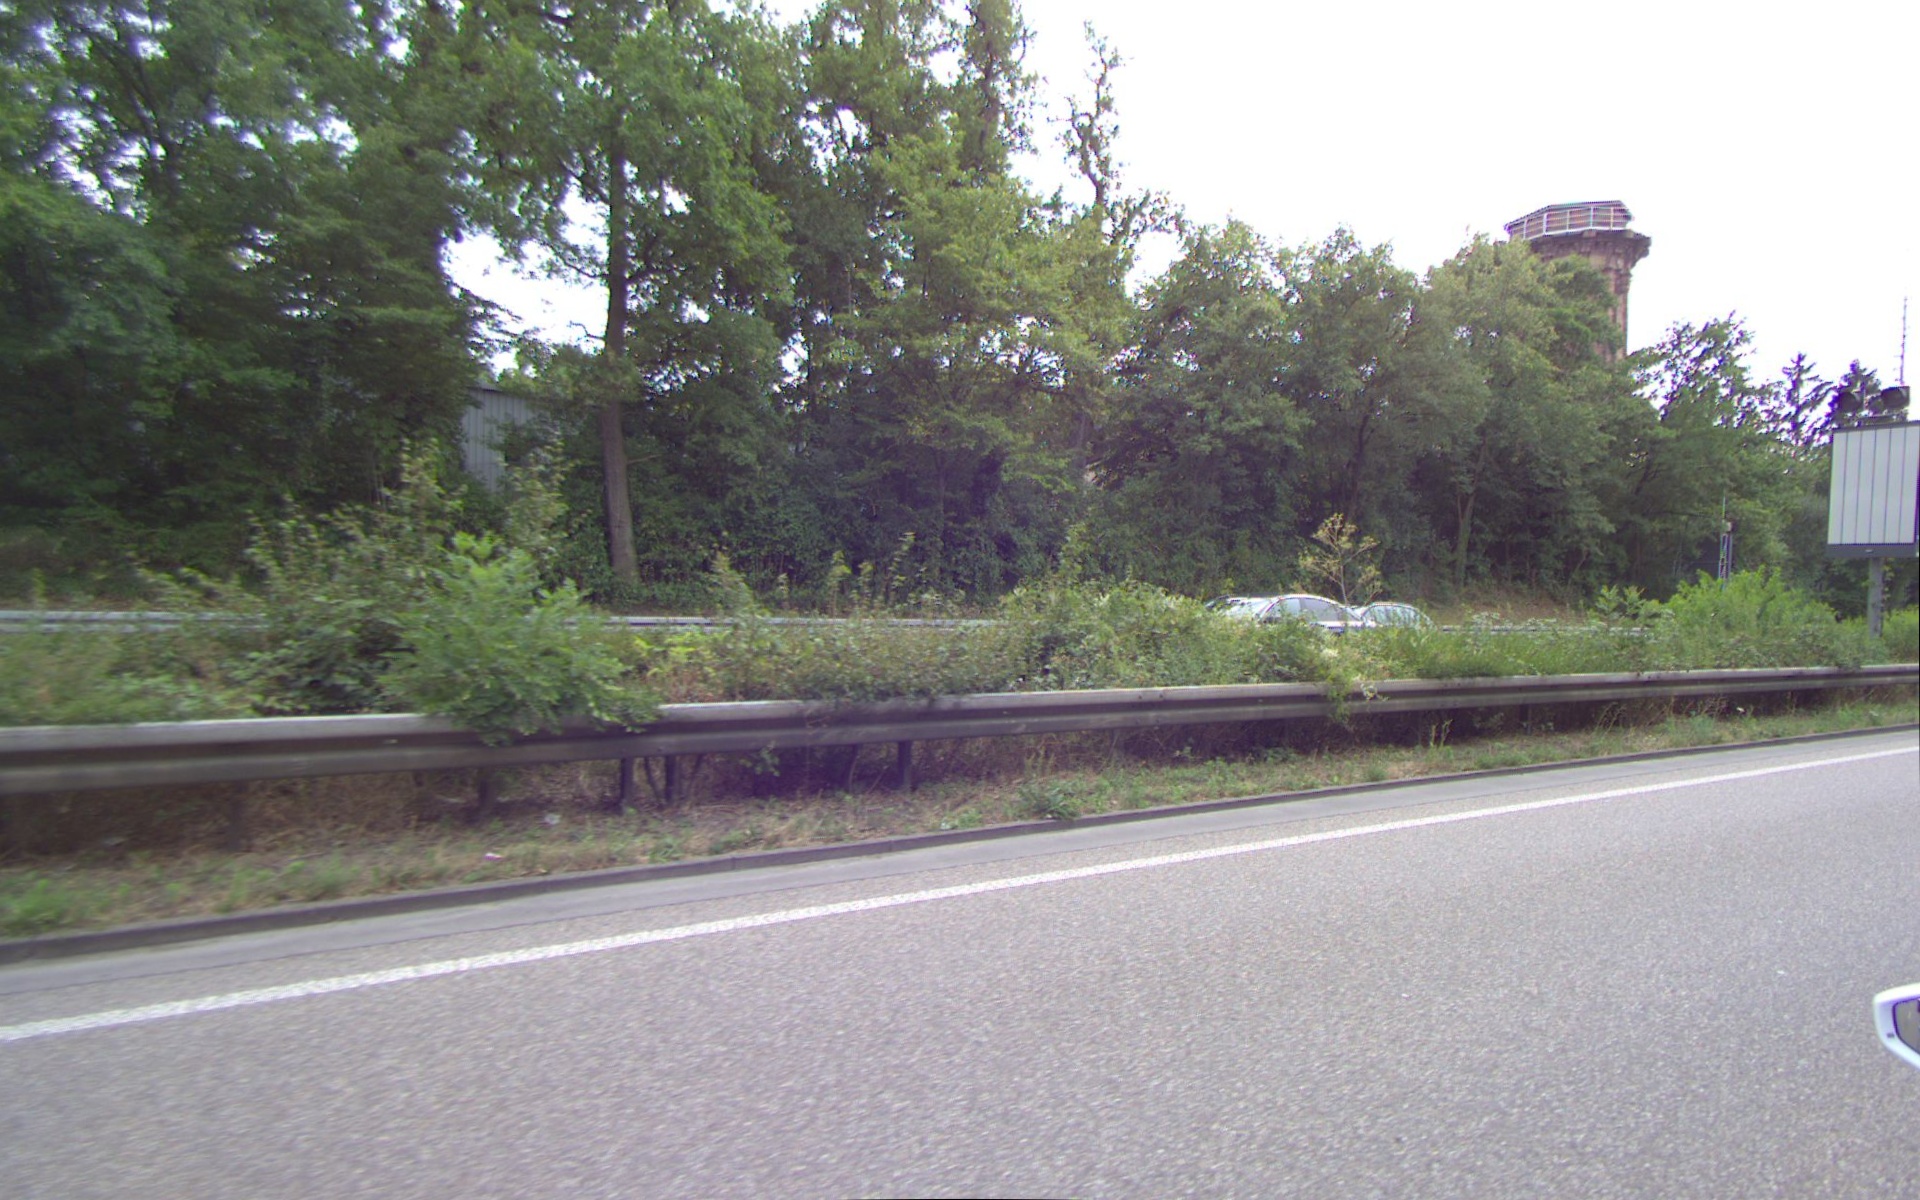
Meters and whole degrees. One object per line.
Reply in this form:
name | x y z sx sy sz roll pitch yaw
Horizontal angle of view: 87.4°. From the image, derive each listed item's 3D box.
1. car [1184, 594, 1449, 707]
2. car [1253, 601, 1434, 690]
car | 5.840 0.775 16.403 3.953 1.632 1.984 2 -1 -30
car | 8.667 0.994 22.664 3.739 1.849 1.884 2 -1 -30
